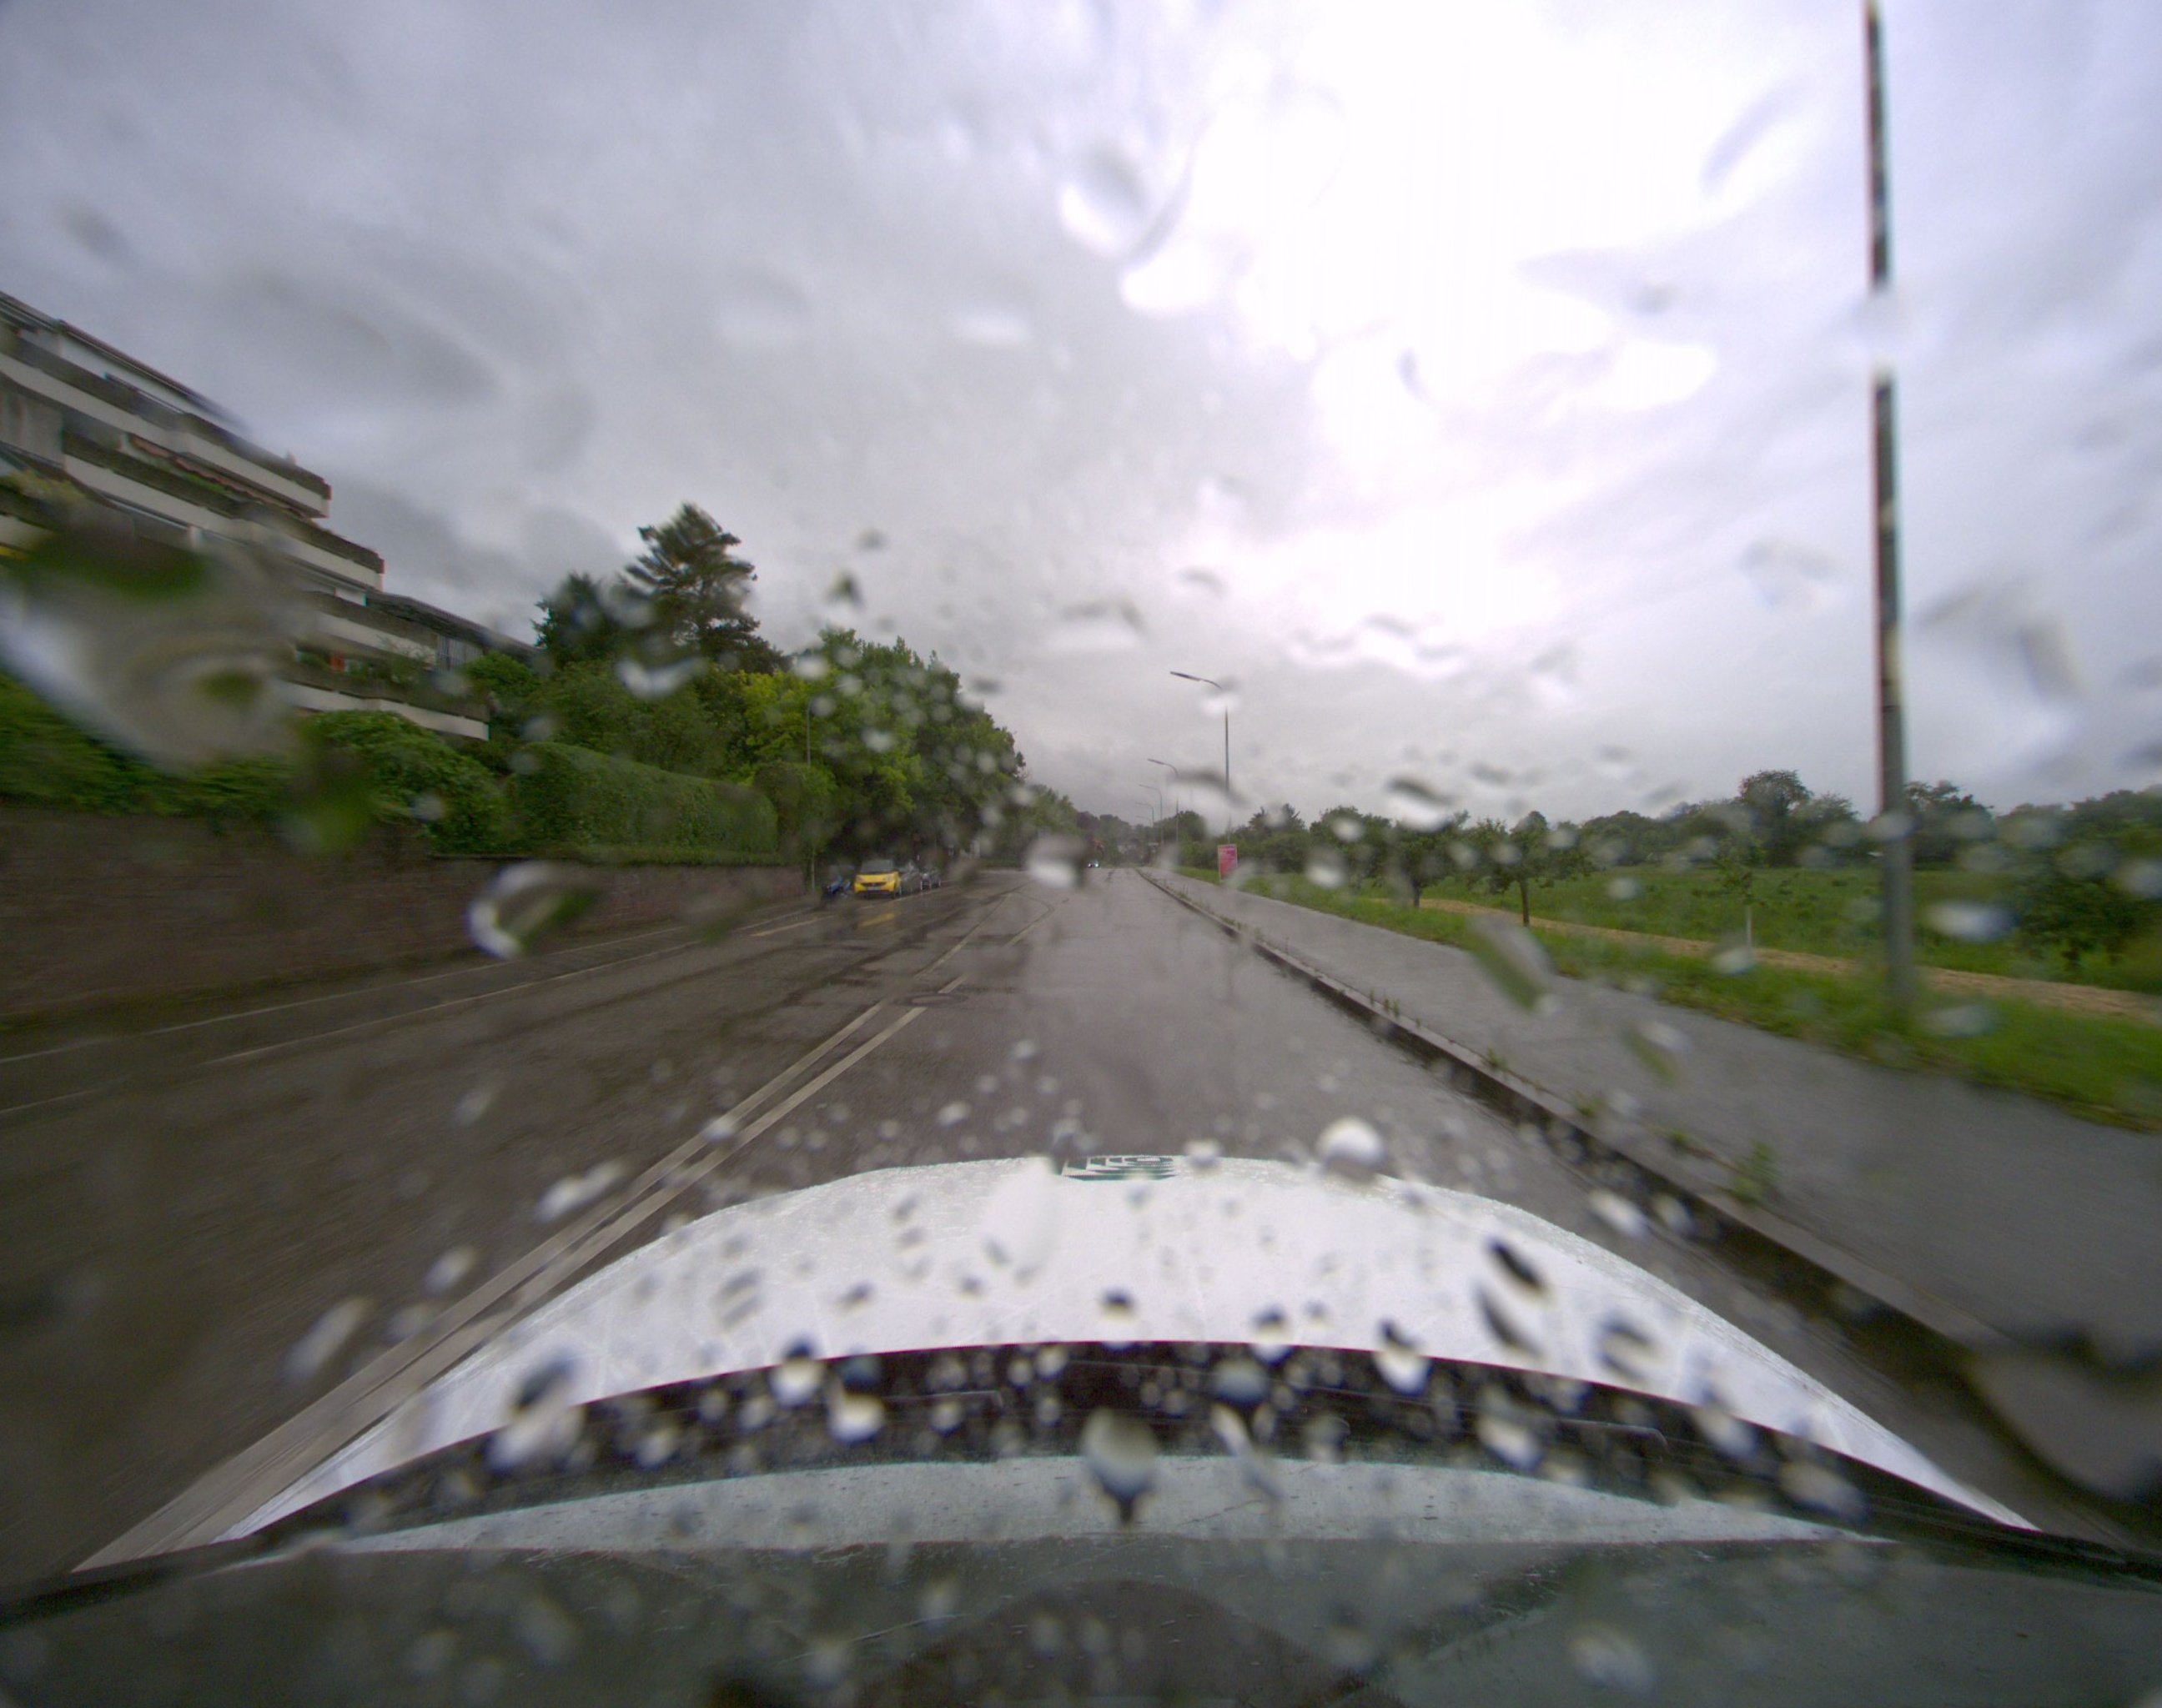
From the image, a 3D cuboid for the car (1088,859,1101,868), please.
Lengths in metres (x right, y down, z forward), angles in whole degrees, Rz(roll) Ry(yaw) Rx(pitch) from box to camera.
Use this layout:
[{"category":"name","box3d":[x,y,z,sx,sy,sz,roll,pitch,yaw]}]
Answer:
[{"category":"car","box3d":[2.678,1.907,158.577,1.782,1.762,4.013,-1,0,12]}]

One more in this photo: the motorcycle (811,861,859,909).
[{"category":"motorcycle","box3d":[-7.433,0.911,24.745,0.836,1.341,2.495,-2,0,-5]}]

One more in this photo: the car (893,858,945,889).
[{"category":"car","box3d":[-8.037,0.936,40.737,1.682,1.419,4.739,-2,0,-1]}]

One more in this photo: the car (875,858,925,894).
[{"category":"car","box3d":[-7.801,0.903,35.399,1.430,1.419,4.099,-2,0,-3]}]

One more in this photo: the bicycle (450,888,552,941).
[{"category":"bicycle","box3d":[-10.602,1.095,14.915,1.481,0.929,0.469,0,-1,-5]}]

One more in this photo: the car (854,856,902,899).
[{"category":"car","box3d":[-7.780,0.865,31.418,1.432,1.537,2.812,-2,0,-7]}]
